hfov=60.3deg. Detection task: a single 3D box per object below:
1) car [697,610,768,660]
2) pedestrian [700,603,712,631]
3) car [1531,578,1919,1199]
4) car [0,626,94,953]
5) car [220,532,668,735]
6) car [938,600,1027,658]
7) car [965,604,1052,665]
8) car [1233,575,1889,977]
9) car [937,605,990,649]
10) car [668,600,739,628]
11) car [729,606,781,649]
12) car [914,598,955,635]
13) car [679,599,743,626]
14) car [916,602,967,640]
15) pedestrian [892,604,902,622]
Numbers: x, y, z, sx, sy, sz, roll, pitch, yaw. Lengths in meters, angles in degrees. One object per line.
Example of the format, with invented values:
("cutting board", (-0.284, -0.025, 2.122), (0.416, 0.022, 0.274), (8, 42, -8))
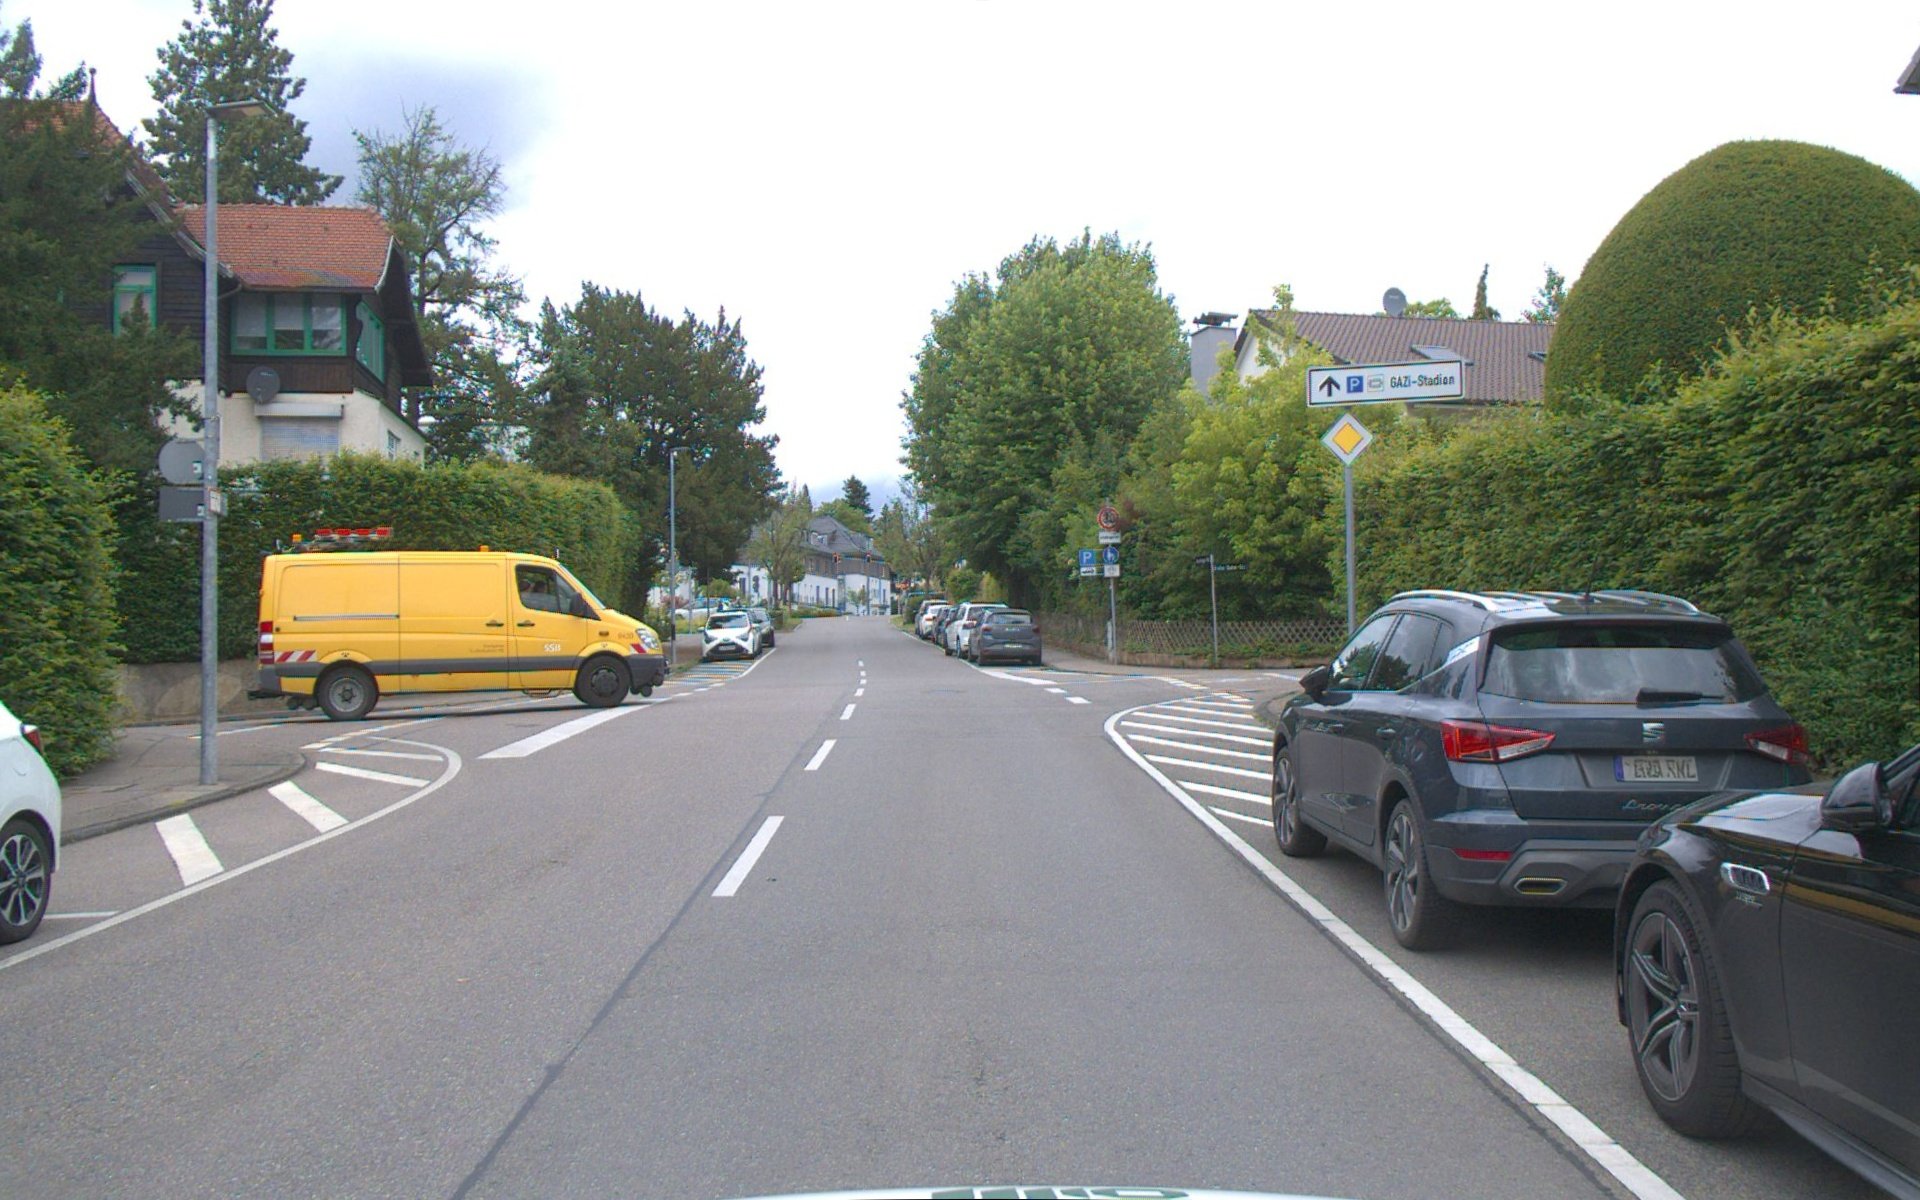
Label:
("car", (-7.030, 1.070, 51.379), (1.709, 1.473, 3.513), (-1, -1, -1))
("pedestrian", (-15.388, 1.053, 100.187), (0.581, 1.669, 0.565), (-2, 0, -3))
("car", (2.921, 0.715, 3.252), (1.884, 1.520, 5.209), (-2, 0, 1))
("car", (-5.130, 0.908, 6.353), (1.655, 1.444, 3.579), (-4, 0, 0))
("car", (-7.605, 0.418, 24.680), (6.035, 2.646, 2.354), (-2, 0, -21))
("car", (0.643, 0.849, 51.295), (1.964, 1.637, 4.749), (-2, 0, -9))
("car", (1.304, 0.925, 46.392), (1.900, 1.517, 4.451), (-2, 0, -5))
("car", (2.727, 0.676, 8.679), (1.753, 1.514, 4.378), (-2, 0, -1))
("car", (0.086, 0.964, 60.919), (1.664, 1.534, 4.157), (1, 0, -4))
("car", (-16.159, 0.862, 104.410), (4.302, 1.594, 2.064), (-2, 0, -6))
("car", (-7.843, 1.024, 63.503), (1.814, 1.495, 4.677), (-2, 0, -5))
("car", (-1.212, 0.768, 77.502), (1.683, 1.661, 3.925), (1, 0, -4))
("car", (-16.109, 0.799, 107.062), (3.908, 1.682, 2.007), (-1, 0, -4))
("car", (-0.843, 0.872, 71.650), (1.954, 1.517, 5.001), (-2, 0, -3))
("pedestrian", (-5.959, 1.229, 156.423), (0.670, 1.711, 0.699), (-1, 0, 27))
